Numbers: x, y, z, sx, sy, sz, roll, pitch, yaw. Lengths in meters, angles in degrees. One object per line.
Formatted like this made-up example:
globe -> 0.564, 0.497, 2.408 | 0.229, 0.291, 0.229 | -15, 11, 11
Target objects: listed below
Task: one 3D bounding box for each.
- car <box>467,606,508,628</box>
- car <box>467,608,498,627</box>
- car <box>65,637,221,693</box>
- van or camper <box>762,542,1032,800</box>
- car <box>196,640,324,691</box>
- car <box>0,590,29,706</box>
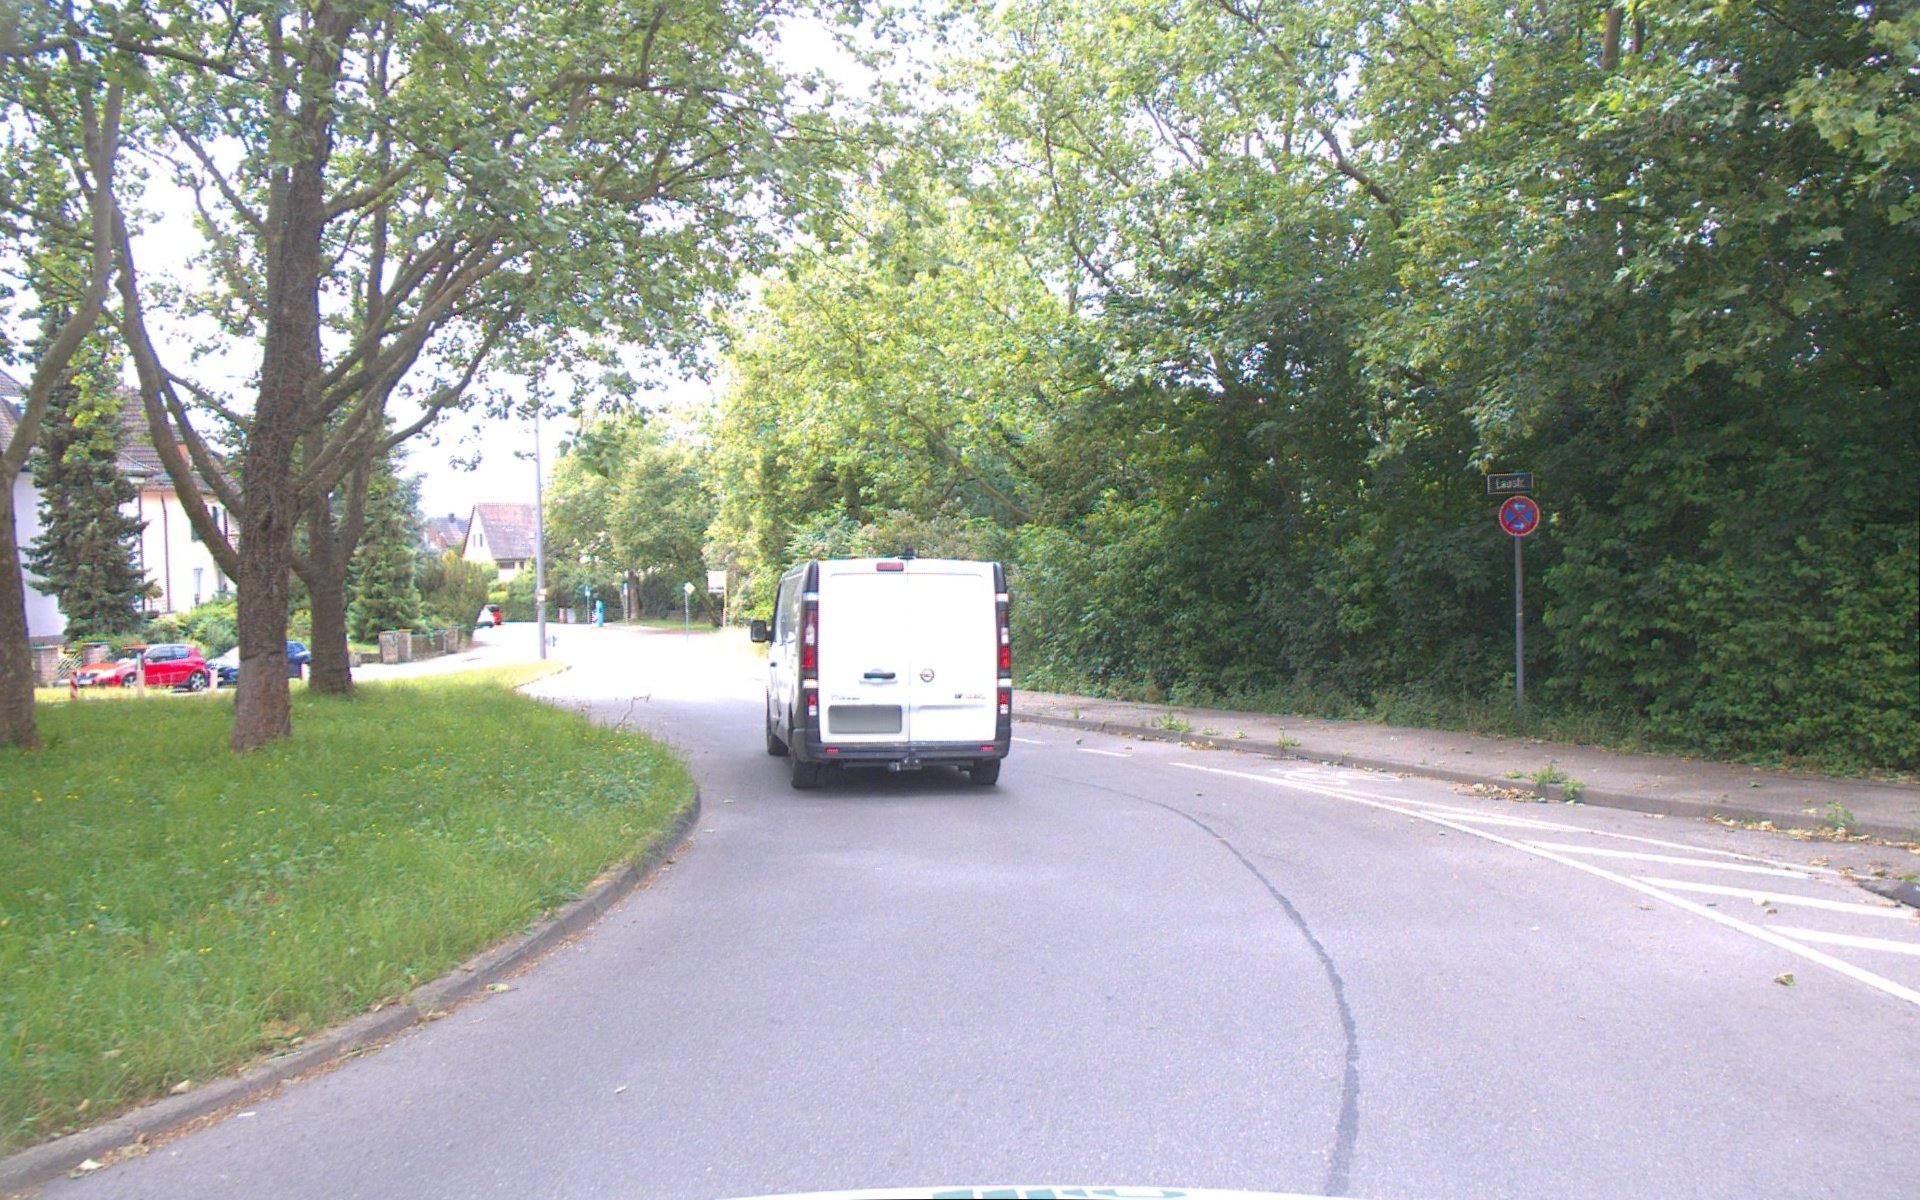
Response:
car -> -40.694, 1.447, 142.306 | 1.747, 1.828, 4.884 | -2, 1, -36
car -> -38.548, 1.420, 133.589 | 1.708, 1.499, 3.349 | -1, 0, -29
car -> -24.643, 1.934, 50.053 | 1.691, 1.499, 4.281 | -1, 0, 18
van or camper -> -0.776, 0.491, 15.738 | 1.889, 2.048, 4.817 | -1, 2, -11
car -> -23.185, 2.150, 54.970 | 1.690, 1.499, 4.318 | -1, 0, 13
car -> -14.269, 0.731, 21.651 | 1.722, 1.619, 4.611 | 0, 2, -3
